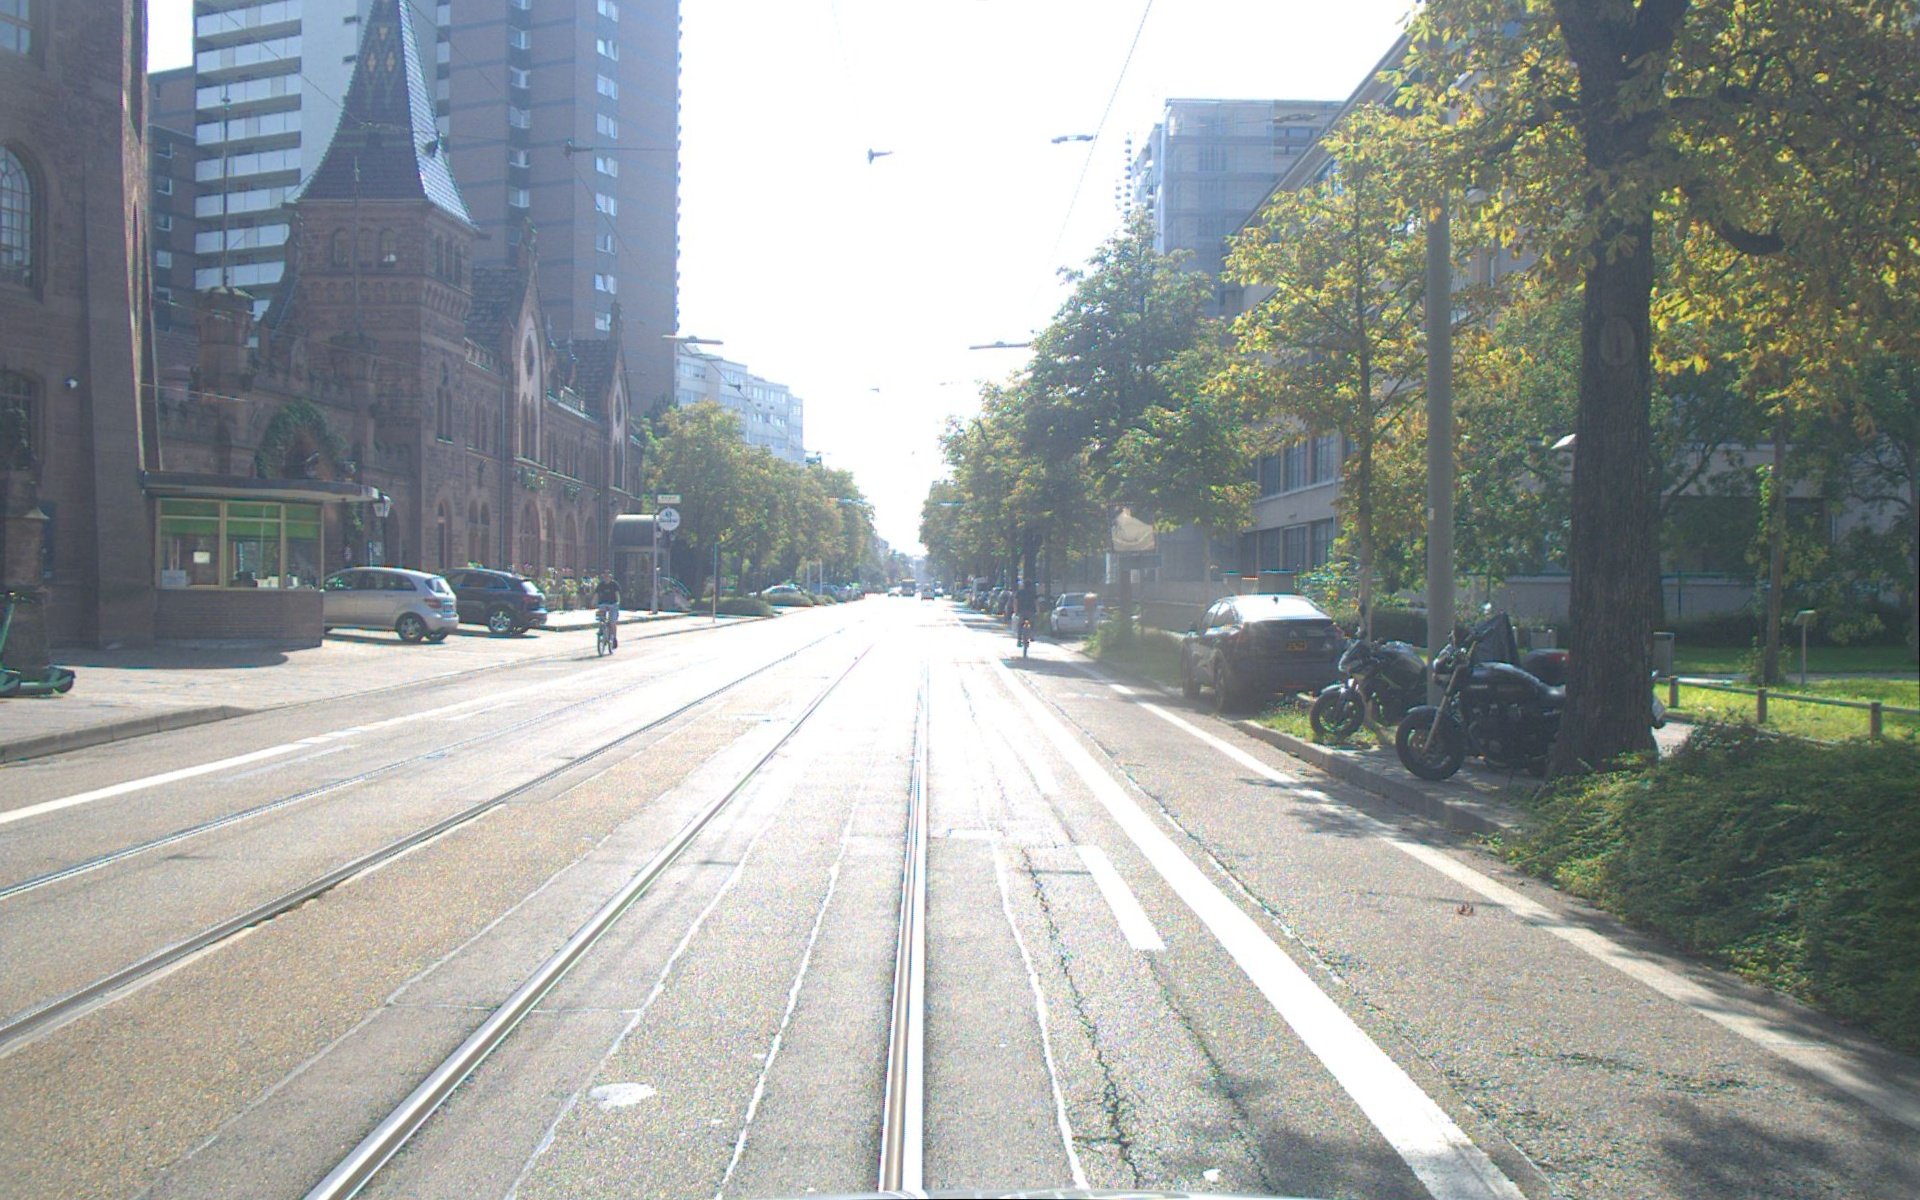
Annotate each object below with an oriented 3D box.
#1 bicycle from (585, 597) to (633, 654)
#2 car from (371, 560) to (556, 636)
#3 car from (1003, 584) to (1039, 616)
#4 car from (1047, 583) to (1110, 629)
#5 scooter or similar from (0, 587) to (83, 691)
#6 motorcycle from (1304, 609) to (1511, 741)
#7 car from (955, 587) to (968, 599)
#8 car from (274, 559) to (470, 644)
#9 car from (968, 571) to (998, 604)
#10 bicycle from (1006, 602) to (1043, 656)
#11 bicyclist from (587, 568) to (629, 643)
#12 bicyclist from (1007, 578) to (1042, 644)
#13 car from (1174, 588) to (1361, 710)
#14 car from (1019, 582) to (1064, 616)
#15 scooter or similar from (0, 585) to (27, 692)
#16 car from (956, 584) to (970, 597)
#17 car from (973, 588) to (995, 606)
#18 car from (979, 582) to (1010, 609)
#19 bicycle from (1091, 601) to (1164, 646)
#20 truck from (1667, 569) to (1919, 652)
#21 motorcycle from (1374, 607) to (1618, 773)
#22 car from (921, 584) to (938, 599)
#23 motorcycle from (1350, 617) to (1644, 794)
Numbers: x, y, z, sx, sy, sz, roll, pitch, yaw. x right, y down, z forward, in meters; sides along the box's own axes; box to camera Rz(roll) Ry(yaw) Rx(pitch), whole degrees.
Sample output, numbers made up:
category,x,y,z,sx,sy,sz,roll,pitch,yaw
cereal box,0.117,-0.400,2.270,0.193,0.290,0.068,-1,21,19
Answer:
category,x,y,z,sx,sy,sz,roll,pitch,yaw
bicycle,-7.736,0.550,36.532,0.683,1.178,2.037,-2,0,-3
car,-13.274,-0.066,44.404,4.311,1.674,1.955,4,0,-4
car,3.098,-0.021,84.727,1.612,1.537,3.777,-1,0,-1
car,3.868,0.173,54.541,1.607,1.455,3.987,0,0,-3
scooter or similar,-10.717,0.457,19.265,0.808,1.168,0.280,4,-2,-38
motorcycle,4.536,0.733,16.779,1.943,1.246,0.645,1,0,24
car,0.220,-0.923,205.326,1.562,1.443,3.634,1,0,0
car,-13.669,0.023,38.596,3.820,1.623,1.823,5,1,1
car,1.908,-1.015,138.902,2.041,2.597,5.499,-3,0,-2
bicycle,1.476,0.651,38.139,0.771,1.164,2.305,1,0,1
bicyclist,-7.763,0.112,36.539,0.683,1.608,1.086,-2,0,-3
bicyclist,1.485,0.243,38.113,0.771,1.495,1.116,1,0,1
car,4.320,0.626,23.925,1.706,1.512,4.435,-1,1,-2
car,3.584,-0.066,73.142,1.613,1.453,4.083,0,1,-2
scooter or similar,-10.680,0.409,18.031,0.808,1.168,0.280,4,-2,-38
car,0.350,-1.078,191.702,1.655,1.443,3.634,1,0,0
car,1.837,-0.245,128.678,1.583,1.398,4.827,0,0,0
car,2.234,-0.318,107.830,1.718,1.721,4.394,1,1,-3
bicycle,4.256,0.585,42.061,1.733,1.082,0.796,-1,0,-3
truck,24.070,0.295,47.730,6.432,2.254,2.121,1,0,-1
motorcycle,4.731,0.749,14.750,0.833,1.350,2.046,-1,0,-30
car,-3.684,-1.030,200.654,1.953,1.870,4.000,1,0,0
motorcycle,4.190,0.782,12.989,2.027,1.264,0.841,-1,0,38
